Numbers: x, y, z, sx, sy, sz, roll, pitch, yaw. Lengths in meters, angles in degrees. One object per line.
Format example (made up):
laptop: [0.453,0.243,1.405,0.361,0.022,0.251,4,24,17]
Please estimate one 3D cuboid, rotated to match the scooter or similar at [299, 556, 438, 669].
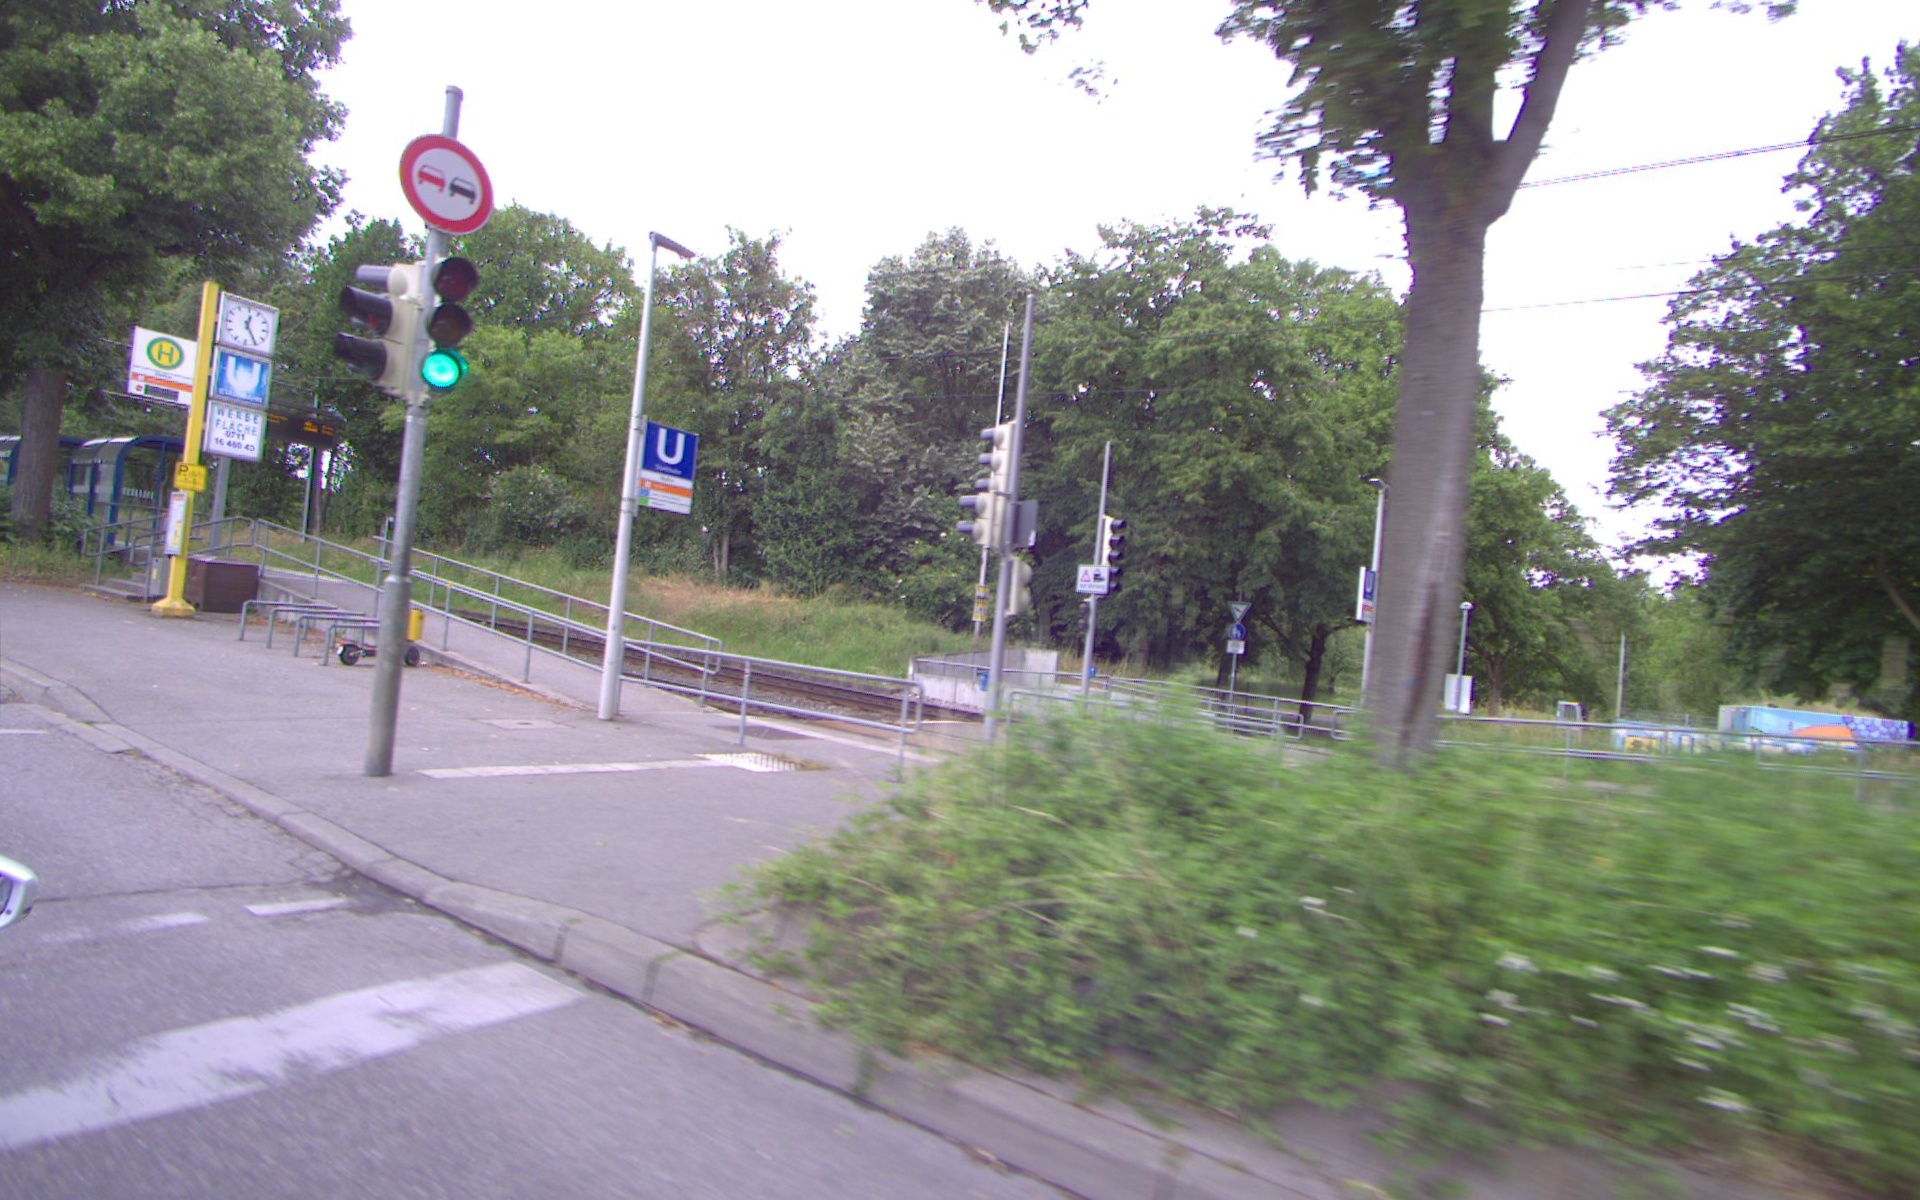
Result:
scooter or similar: [-7.206,0.192,12.337,0.475,1.257,1.460,7,-2,13]
